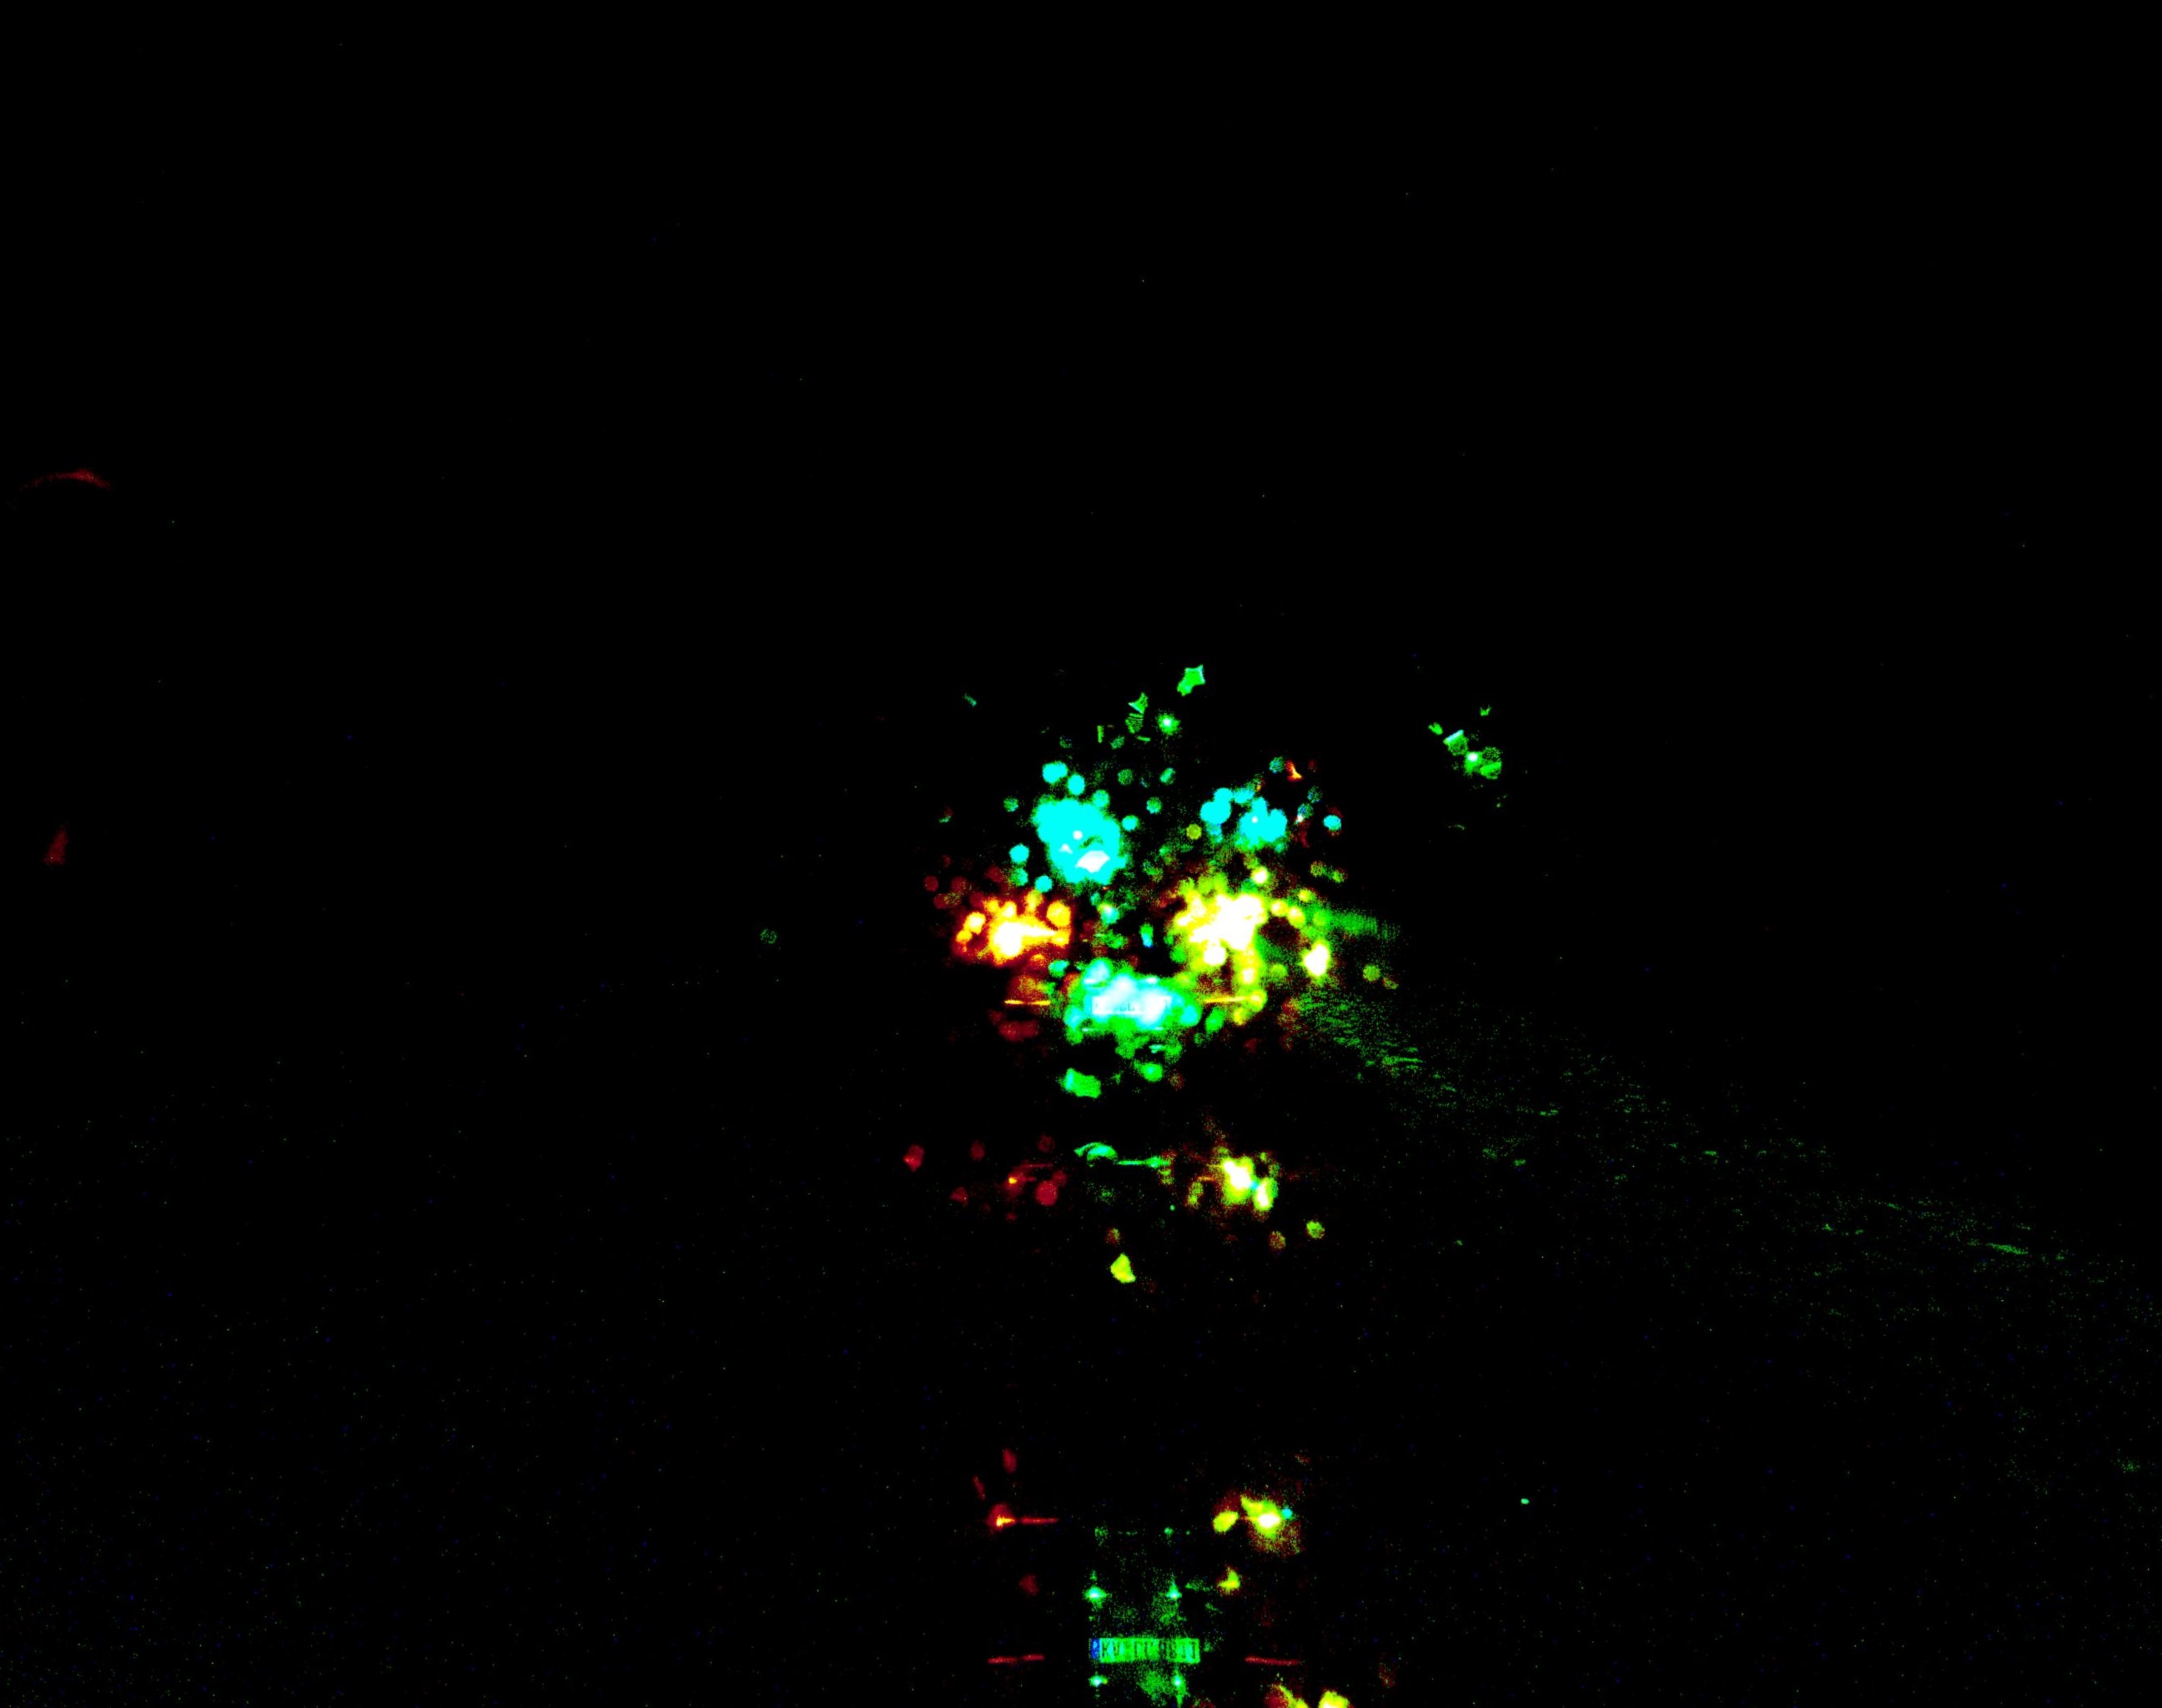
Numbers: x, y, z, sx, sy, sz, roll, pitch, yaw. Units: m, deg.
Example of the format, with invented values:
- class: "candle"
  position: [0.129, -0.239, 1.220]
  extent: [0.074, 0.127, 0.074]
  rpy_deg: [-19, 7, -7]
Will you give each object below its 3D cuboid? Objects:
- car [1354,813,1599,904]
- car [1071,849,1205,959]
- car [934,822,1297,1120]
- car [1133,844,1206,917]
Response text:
- class: "car"
  position: [8.466, 0.095, 17.886]
  extent: [4.437, 1.586, 1.946]
  rpy_deg: [-4, 0, 13]
- class: "car"
  position: [0.944, 0.737, 14.302]
  extent: [1.902, 1.510, 4.243]
  rpy_deg: [-4, 0, 2]
- class: "car"
  position: [0.260, 0.664, 6.679]
  extent: [2.050, 1.678, 4.141]
  rpy_deg: [0, 0, 2]
- class: "car"
  position: [2.827, 0.717, 25.142]
  extent: [1.759, 1.947, 4.269]
  rpy_deg: [2, 2, 12]
